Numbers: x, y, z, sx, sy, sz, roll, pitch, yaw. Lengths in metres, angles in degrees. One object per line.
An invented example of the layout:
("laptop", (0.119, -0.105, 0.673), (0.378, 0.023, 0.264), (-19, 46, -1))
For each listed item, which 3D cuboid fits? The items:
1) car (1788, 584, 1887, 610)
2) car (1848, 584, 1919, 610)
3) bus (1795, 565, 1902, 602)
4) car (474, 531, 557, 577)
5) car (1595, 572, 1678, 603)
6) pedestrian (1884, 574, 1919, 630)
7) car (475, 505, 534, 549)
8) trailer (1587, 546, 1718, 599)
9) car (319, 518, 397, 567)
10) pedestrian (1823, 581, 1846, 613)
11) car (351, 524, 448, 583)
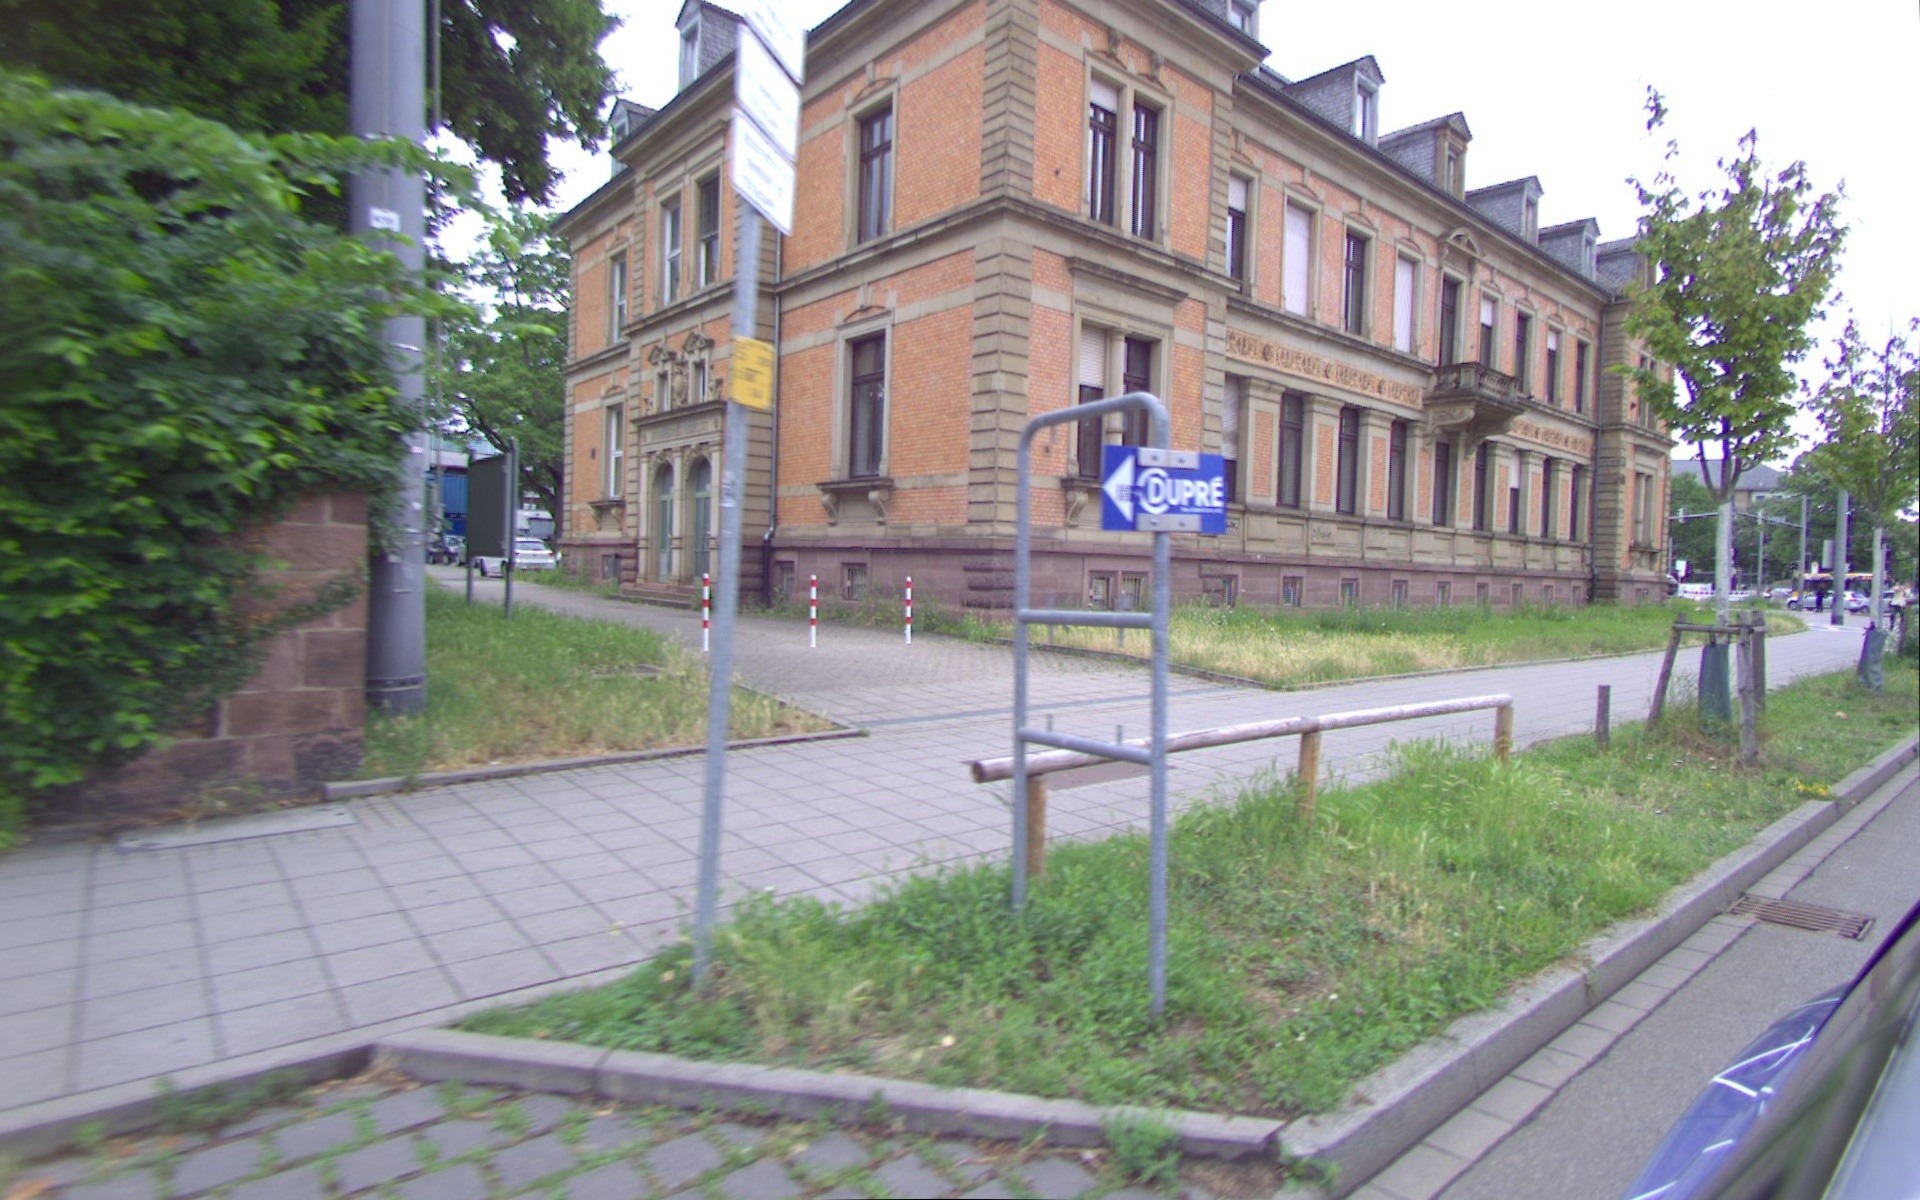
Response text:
("car", (59.951, -0.226, 69.227), (1.958, 1.512, 4.689), (3, 0, -23))
("car", (58.851, -0.226, 63.994), (1.962, 1.511, 3.623), (0, 3, -35))
("bus", (82.166, -1.609, 93.971), (2.827, 3.114, 11.955), (1, 3, 18))
("car", (-15.953, -1.646, 36.233), (1.971, 1.548, 4.001), (-1, 3, -35))
("car", (46.484, -0.911, 69.672), (1.958, 1.965, 4.534), (1, 2, -13))
("pedestrian", (32.893, 0.066, 34.833), (0.869, 1.890, 1.288), (1, 2, -7))
("car", (-22.552, -3.571, 50.034), (1.962, 2.038, 4.002), (-1, 3, -34))
("trailer", (56.380, -2.332, 82.810), (2.935, 4.021, 9.574), (0, 2, -10))
("car", (-20.421, -1.907, 34.257), (1.971, 1.548, 4.001), (-1, 3, -35))
("pedestrian", (53.948, -0.193, 62.423), (0.774, 1.967, 0.972), (2, 2, 27))
("car", (-15.929, -1.316, 28.686), (1.971, 1.548, 4.001), (-1, 3, -35))
